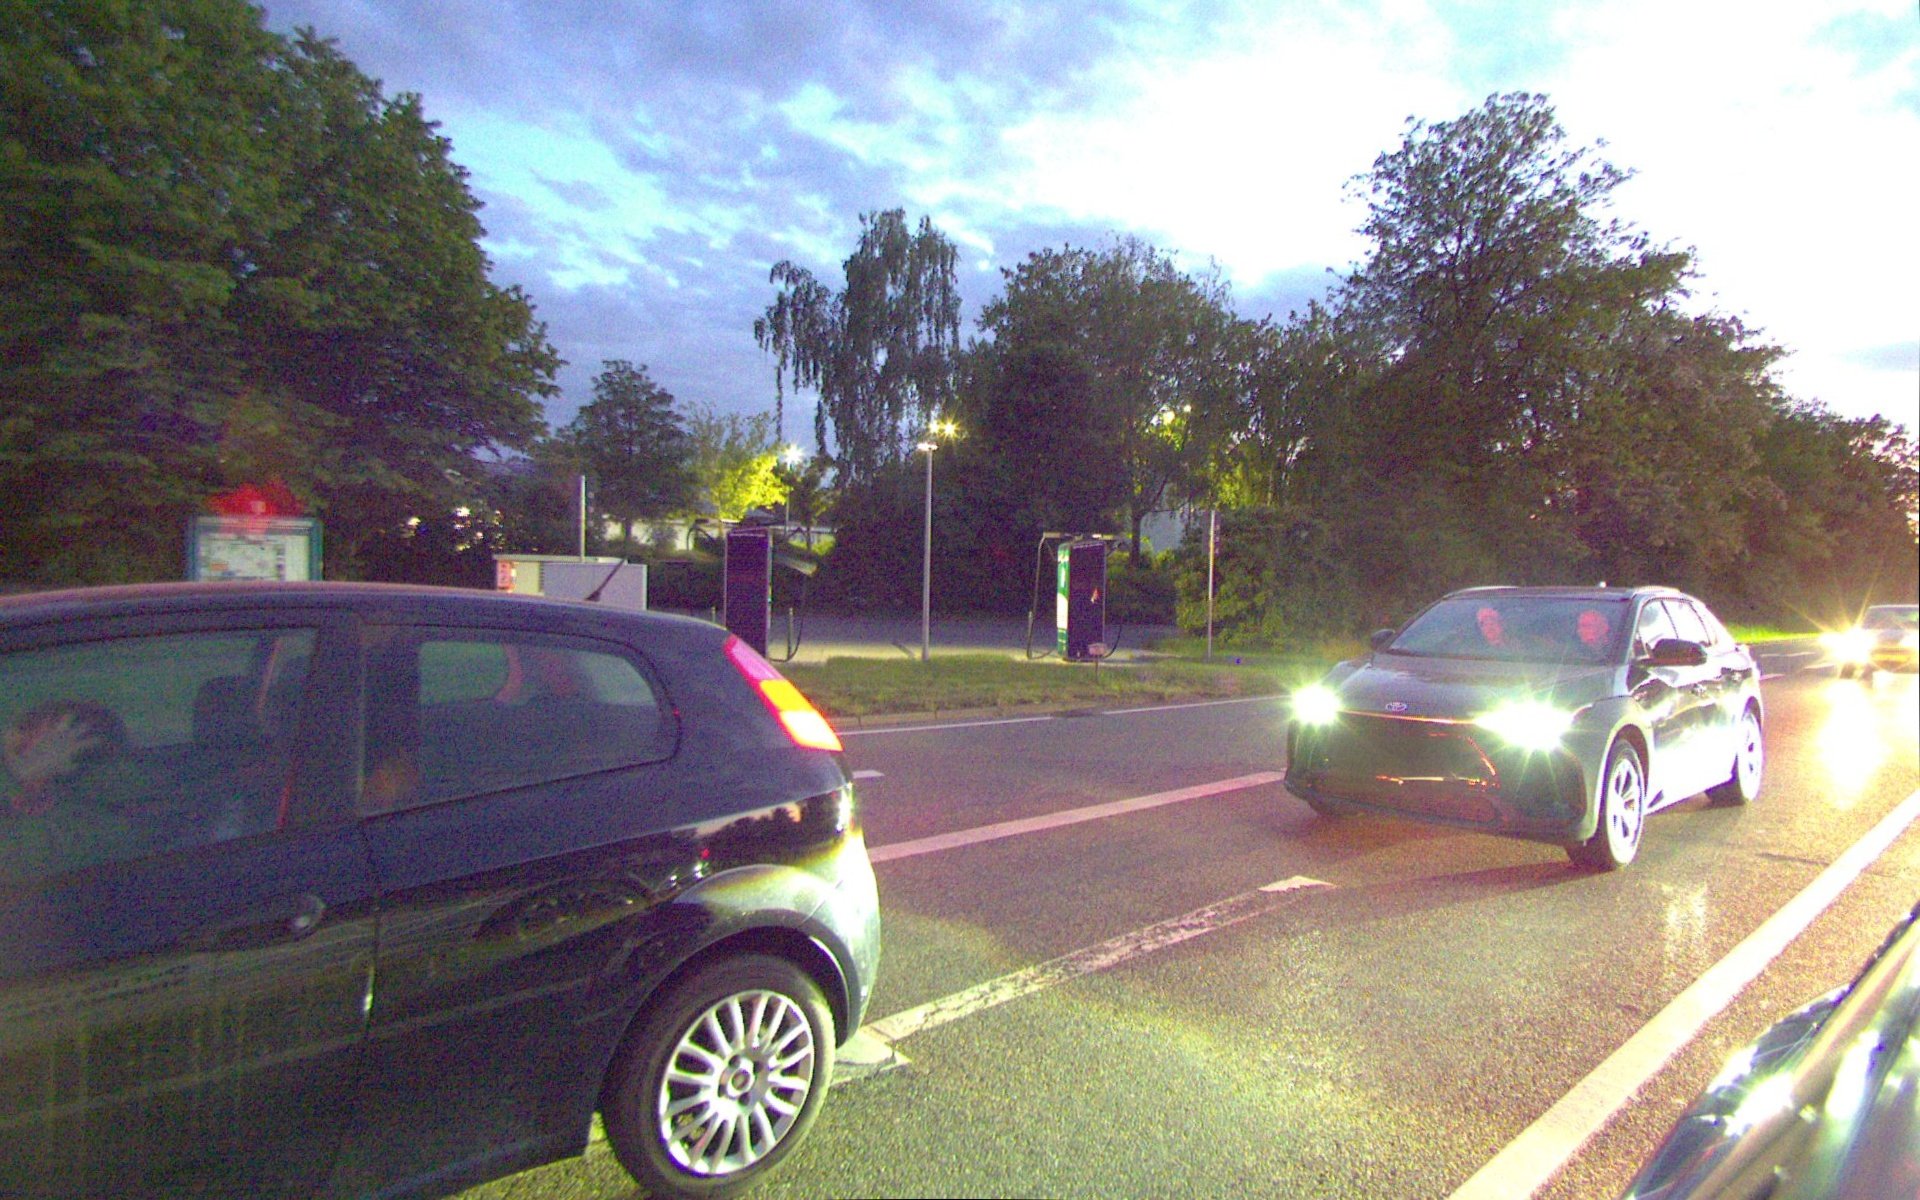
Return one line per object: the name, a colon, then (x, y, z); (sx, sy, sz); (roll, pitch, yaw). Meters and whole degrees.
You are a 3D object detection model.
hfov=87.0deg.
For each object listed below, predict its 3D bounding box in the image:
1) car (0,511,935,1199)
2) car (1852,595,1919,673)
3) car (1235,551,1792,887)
car: (-2.151, 0.621, 2.088); (4.032, 1.540, 1.674); (0, 1, -39)
car: (19.648, 0.650, 20.706); (3.803, 1.487, 1.622); (0, 0, -41)
car: (4.140, 0.568, 7.188); (4.629, 1.630, 1.997); (0, 0, -41)
